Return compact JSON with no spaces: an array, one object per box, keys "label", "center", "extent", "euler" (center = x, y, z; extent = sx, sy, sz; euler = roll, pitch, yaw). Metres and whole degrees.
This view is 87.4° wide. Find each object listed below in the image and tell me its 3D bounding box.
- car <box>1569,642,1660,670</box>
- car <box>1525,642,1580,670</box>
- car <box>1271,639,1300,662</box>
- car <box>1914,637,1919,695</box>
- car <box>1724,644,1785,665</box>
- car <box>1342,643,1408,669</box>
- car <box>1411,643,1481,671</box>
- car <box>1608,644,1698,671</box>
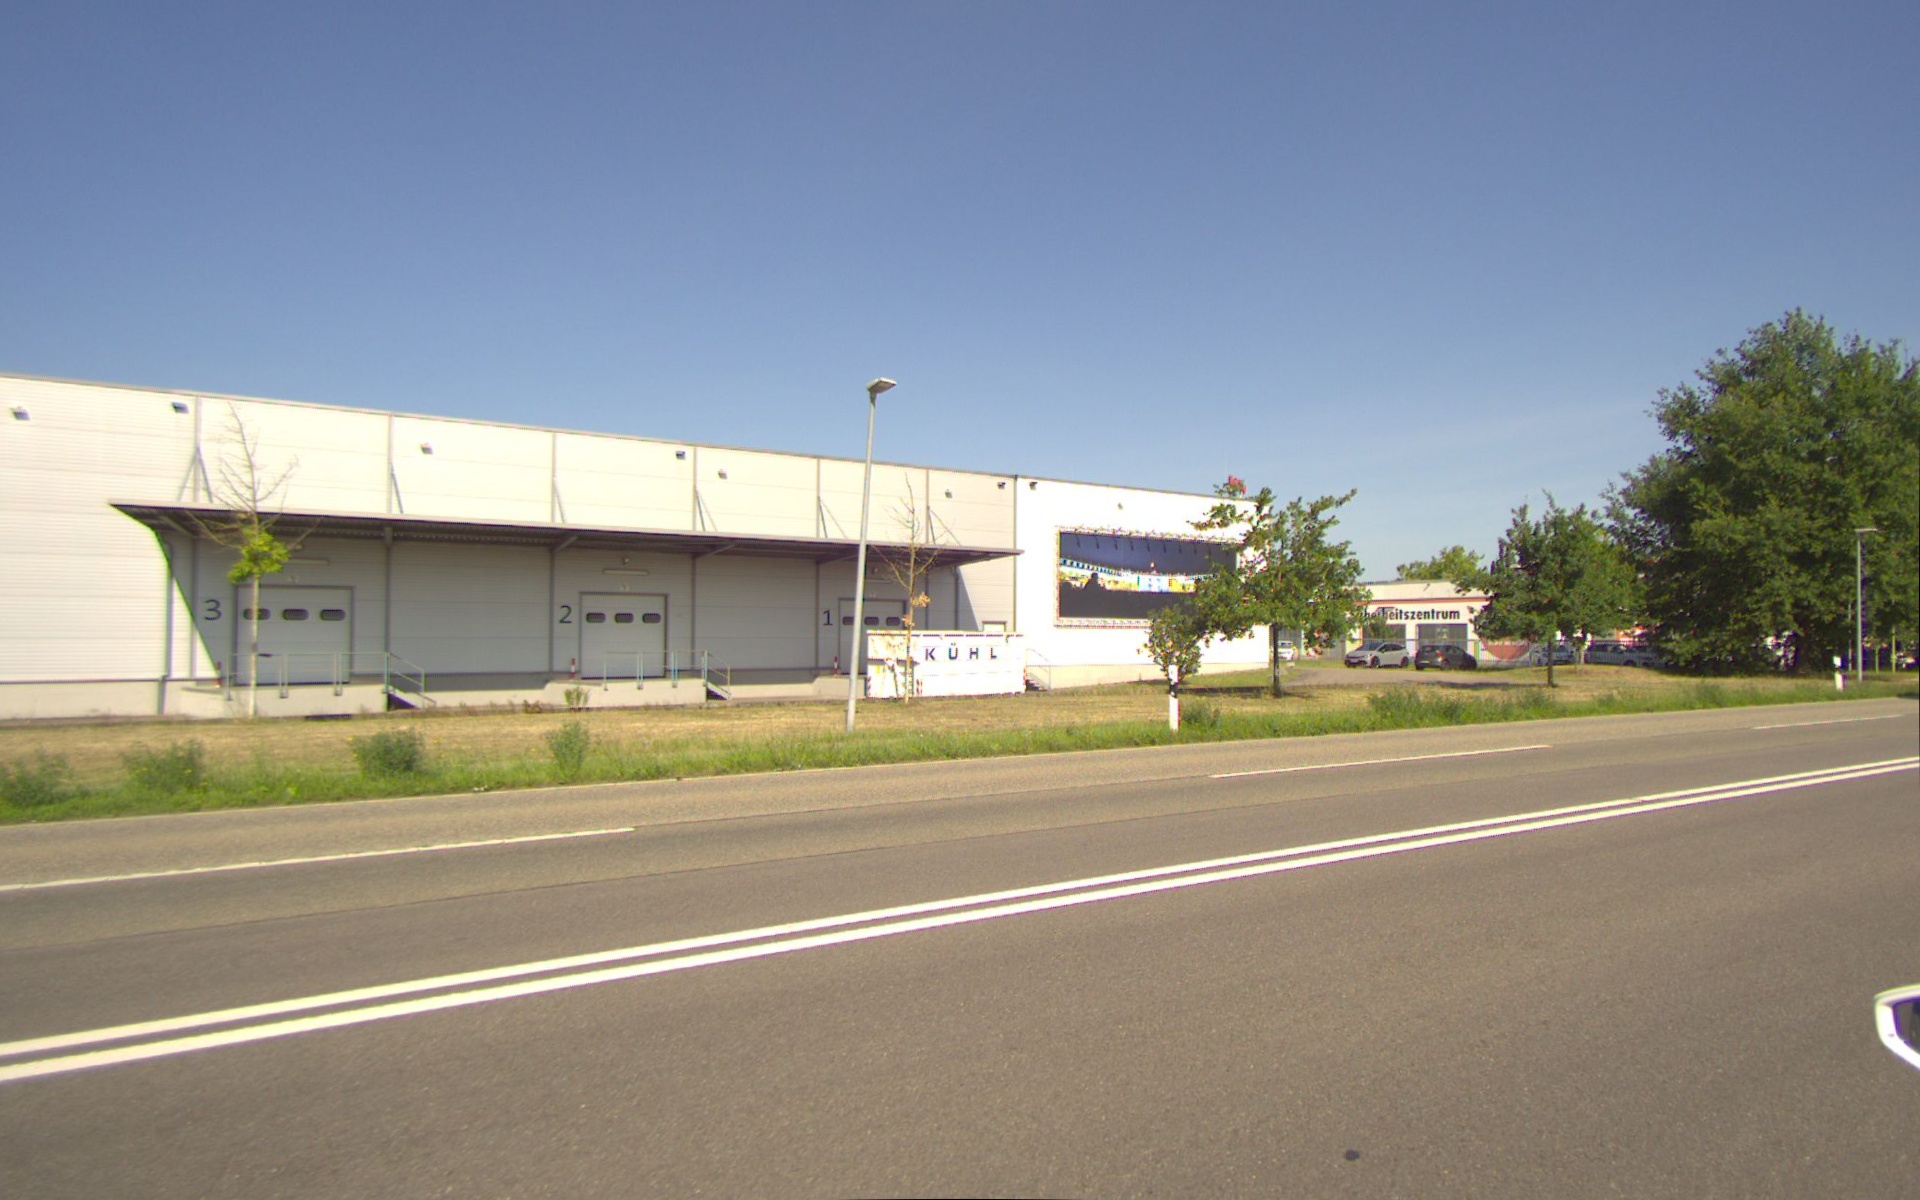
[{"label":"car","center":[36.734,3.127,56.458],"extent":[1.737,1.520,3.969],"euler":[1,-3,-30]},{"label":"car","center":[33.191,3.096,56.365],"extent":[1.705,1.520,4.002],"euler":[0,-2,17]},{"label":"car","center":[23.739,3.655,73.239],"extent":[1.441,1.579,3.381],"euler":[-1,-2,27]},{"label":"car","center":[26.459,1.683,25.938],"extent":[3.692,1.456,1.651],"euler":[2,-4,-31]},{"label":"car","center":[53.347,3.646,67.416],"extent":[4.613,1.367,1.777],"euler":[2,-3,-33]},{"label":"car","center":[23.952,3.197,57.967],"extent":[3.680,1.429,1.628],"euler":[2,-2,-31]},{"label":"car","center":[26.136,3.045,54.019],"extent":[3.680,1.408,1.628],"euler":[2,-2,-31]},{"label":"car","center":[40.255,3.318,58.443],"extent":[1.737,1.520,3.969],"euler":[1,-3,-30]}]
